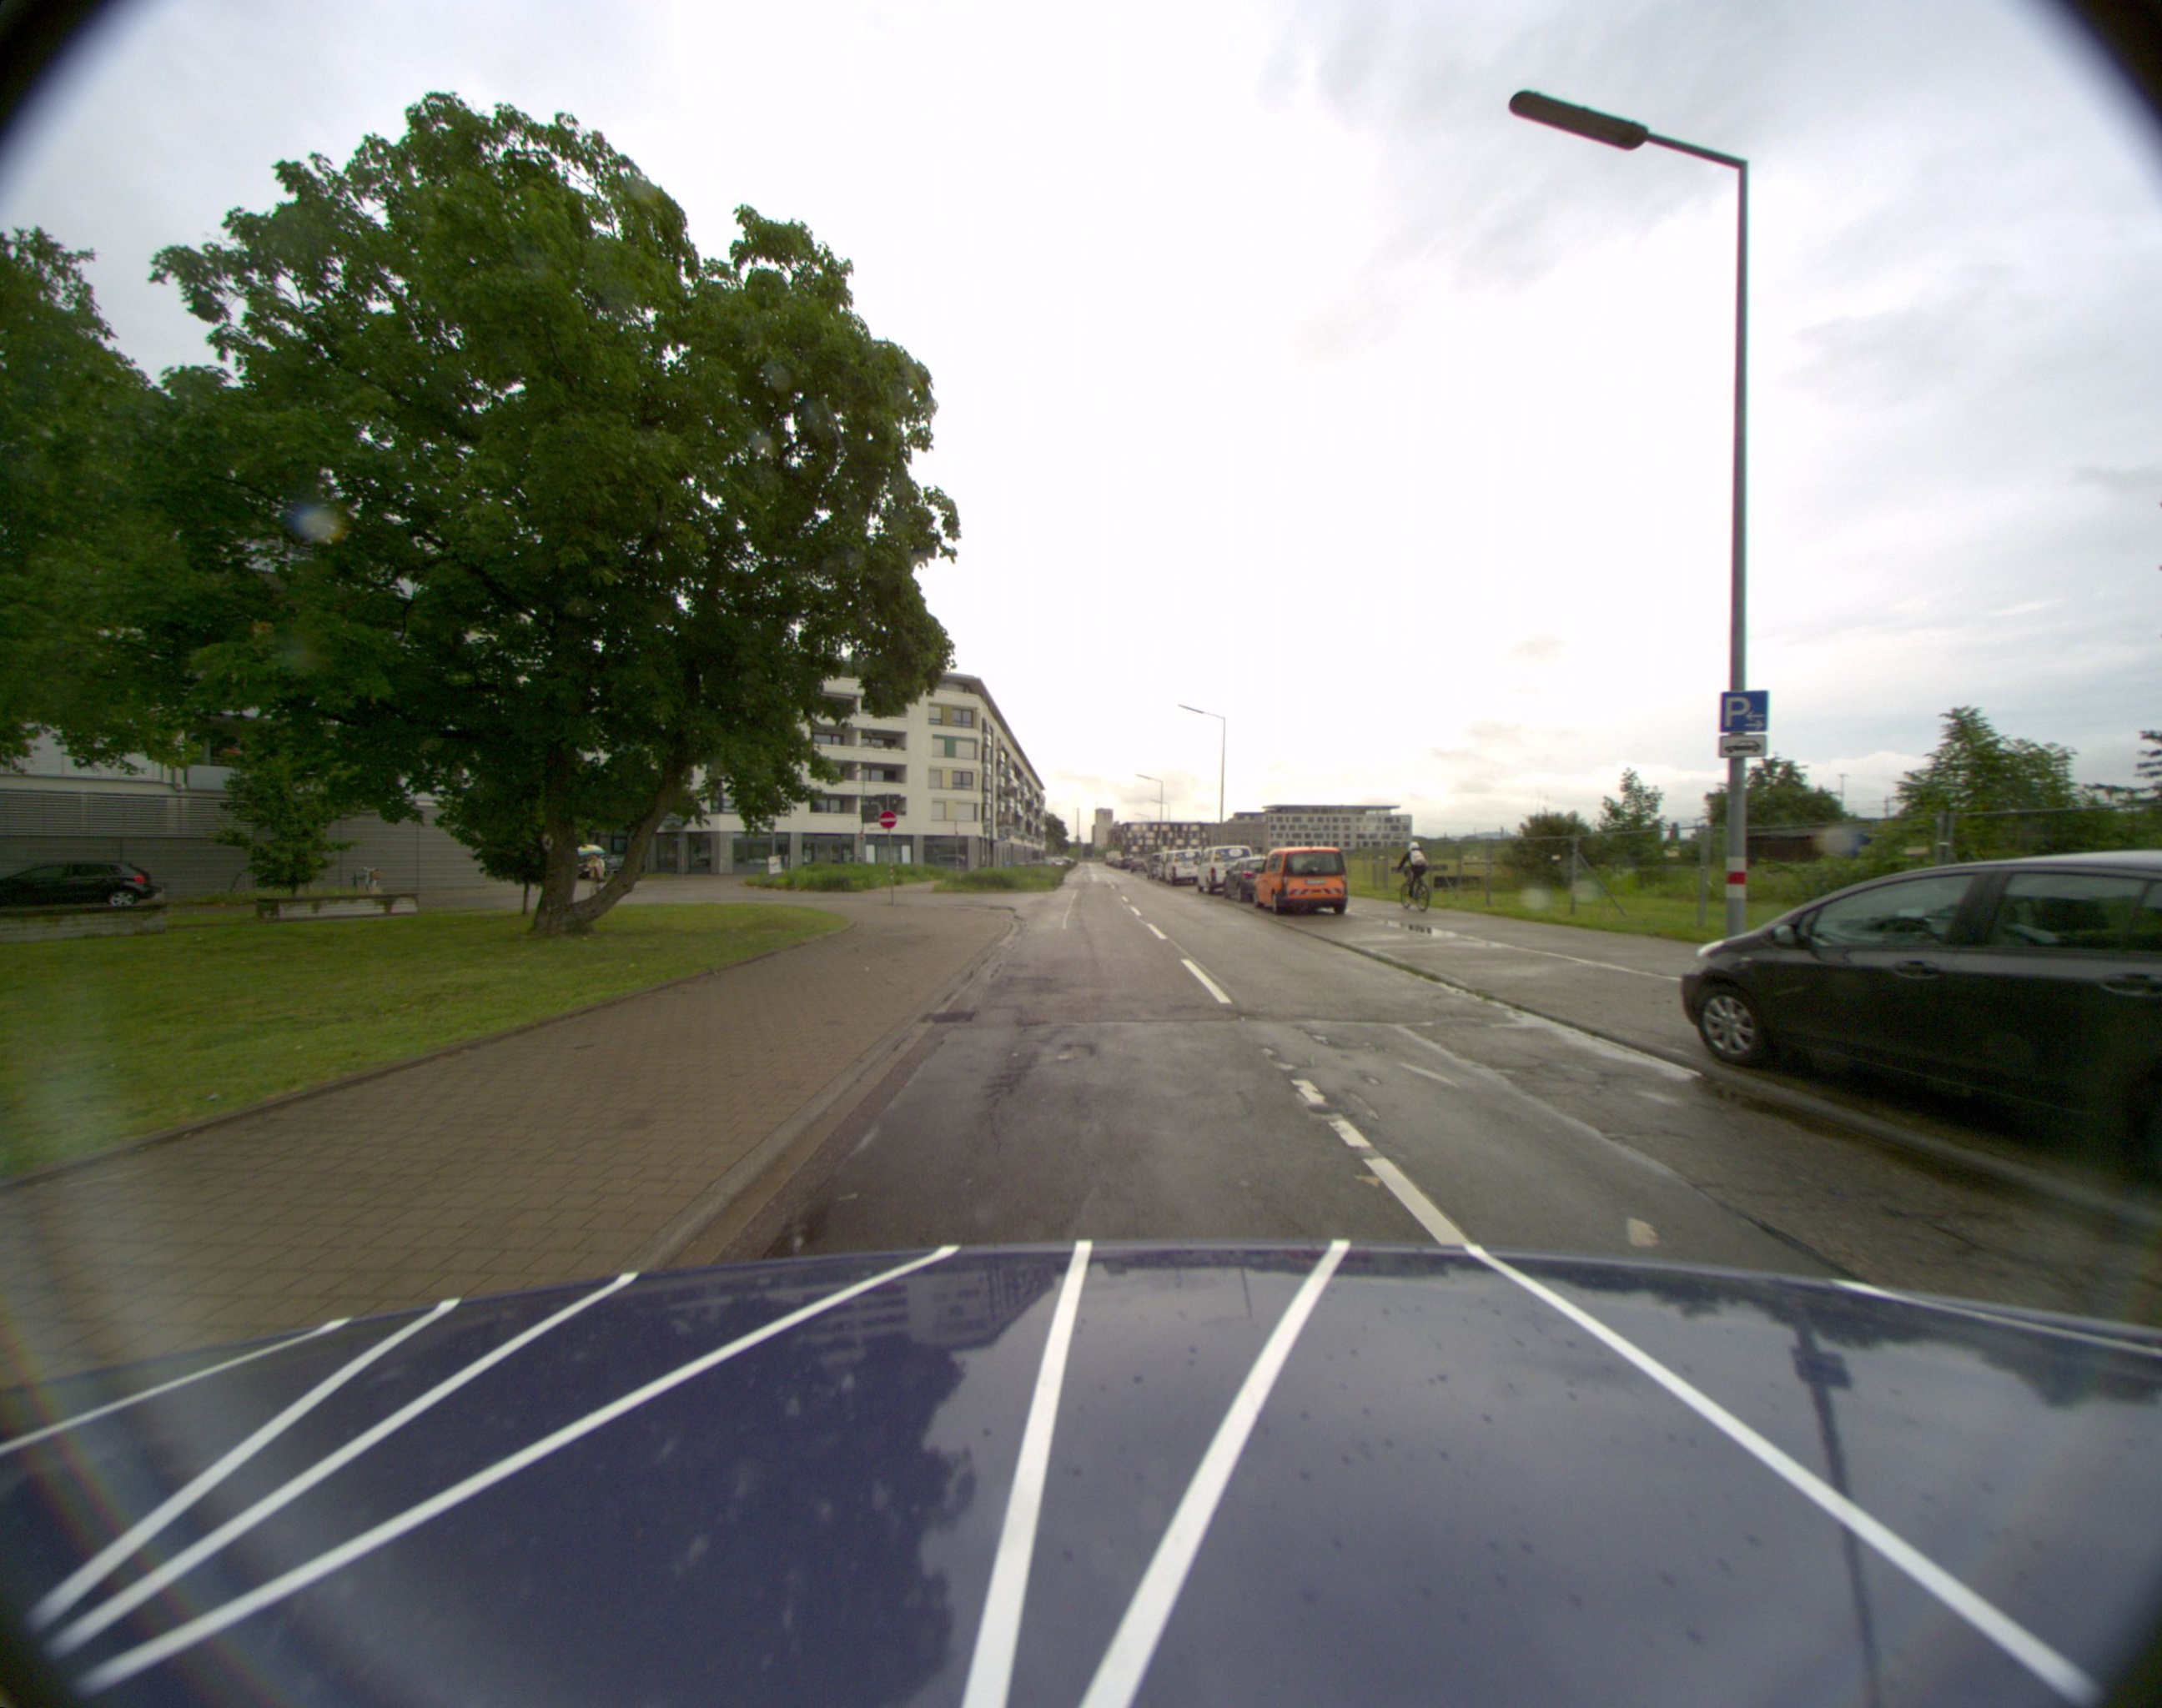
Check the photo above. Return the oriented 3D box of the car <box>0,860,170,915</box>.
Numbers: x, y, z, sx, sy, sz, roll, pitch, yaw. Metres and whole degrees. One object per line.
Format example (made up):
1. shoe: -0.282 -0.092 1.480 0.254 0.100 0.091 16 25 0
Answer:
1. car: -30.290 0.951 22.553 1.729 1.539 4.130 0 0 39

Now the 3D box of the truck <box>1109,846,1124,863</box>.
1. truck: 6.917 0.126 148.266 2.442 3.050 6.700 -1 0 0

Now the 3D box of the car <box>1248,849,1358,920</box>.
1. car: 6.032 0.758 21.200 1.944 1.757 4.331 0 0 2

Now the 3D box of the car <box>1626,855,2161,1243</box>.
1. car: 5.455 0.829 4.307 1.808 1.552 4.033 -3 0 1

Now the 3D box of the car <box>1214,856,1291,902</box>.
1. car: 6.080 0.822 27.511 1.688 1.493 4.892 0 0 0

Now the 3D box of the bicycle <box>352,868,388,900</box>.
1. bicycle: -25.978 1.076 27.749 2.477 1.081 0.727 0 0 42

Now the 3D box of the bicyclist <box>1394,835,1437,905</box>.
1. bicyclist: 9.025 0.428 20.541 0.700 1.819 1.008 -1 0 1

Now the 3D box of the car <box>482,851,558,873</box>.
1. car: -42.781 0.600 58.029 1.736 1.641 4.358 0 0 28

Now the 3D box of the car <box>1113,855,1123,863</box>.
1. car: 6.869 0.898 140.507 1.676 1.454 4.157 0 0 1

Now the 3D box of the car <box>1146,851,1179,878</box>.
1. car: 6.111 0.762 57.537 1.961 1.890 4.995 -1 0 1

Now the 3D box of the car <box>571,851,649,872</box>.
1. car: -33.651 0.506 54.395 1.809 1.424 4.531 0 0 23

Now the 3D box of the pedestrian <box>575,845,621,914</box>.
1. pedestrian: -14.246 0.742 22.431 0.967 2.002 0.622 0 0 1

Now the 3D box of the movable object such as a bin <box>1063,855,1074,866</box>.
1. movable object such as a bin: -1.856 0.938 109.768 1.499 1.484 1.155 3 0 1

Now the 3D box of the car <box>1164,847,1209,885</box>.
1. car: 6.045 0.637 44.173 1.964 2.046 5.274 -1 0 1

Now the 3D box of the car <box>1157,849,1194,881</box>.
1. car: 6.221 0.709 50.367 1.899 2.002 5.258 0 0 1

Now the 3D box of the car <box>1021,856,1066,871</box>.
1. car: -3.841 0.932 77.929 4.420 1.397 1.910 2 0 0

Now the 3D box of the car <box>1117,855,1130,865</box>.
1. car: 6.658 0.950 120.694 1.842 1.519 4.670 -2 1 1

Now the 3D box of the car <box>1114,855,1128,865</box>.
1. car: 6.684 0.953 127.681 1.857 1.598 4.988 -3 0 0

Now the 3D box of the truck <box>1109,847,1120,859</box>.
1. truck: 7.401 -0.255 168.324 2.180 2.591 6.131 -1 0 1

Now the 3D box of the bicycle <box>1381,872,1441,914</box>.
1. bicycle: 9.034 1.040 20.900 0.718 1.036 2.144 -1 0 1

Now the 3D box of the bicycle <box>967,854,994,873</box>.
1. bicycle: -8.324 0.813 62.821 2.189 1.514 0.631 1 1 21

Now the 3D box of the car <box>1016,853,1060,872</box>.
1. car: -4.118 0.777 73.032 4.100 1.614 1.966 2 0 -1

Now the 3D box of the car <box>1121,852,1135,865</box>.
1. car: 6.430 0.635 103.810 1.756 1.683 4.882 0 0 3

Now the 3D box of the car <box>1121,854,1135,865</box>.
1. car: 6.786 0.796 109.393 1.757 1.581 4.133 0 0 1

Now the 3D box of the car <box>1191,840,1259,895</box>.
1. car: 6.217 0.559 33.451 1.947 2.223 5.557 0 0 0

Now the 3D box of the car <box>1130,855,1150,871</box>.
1. car: 6.341 0.944 81.985 1.852 1.552 4.152 -3 0 1
